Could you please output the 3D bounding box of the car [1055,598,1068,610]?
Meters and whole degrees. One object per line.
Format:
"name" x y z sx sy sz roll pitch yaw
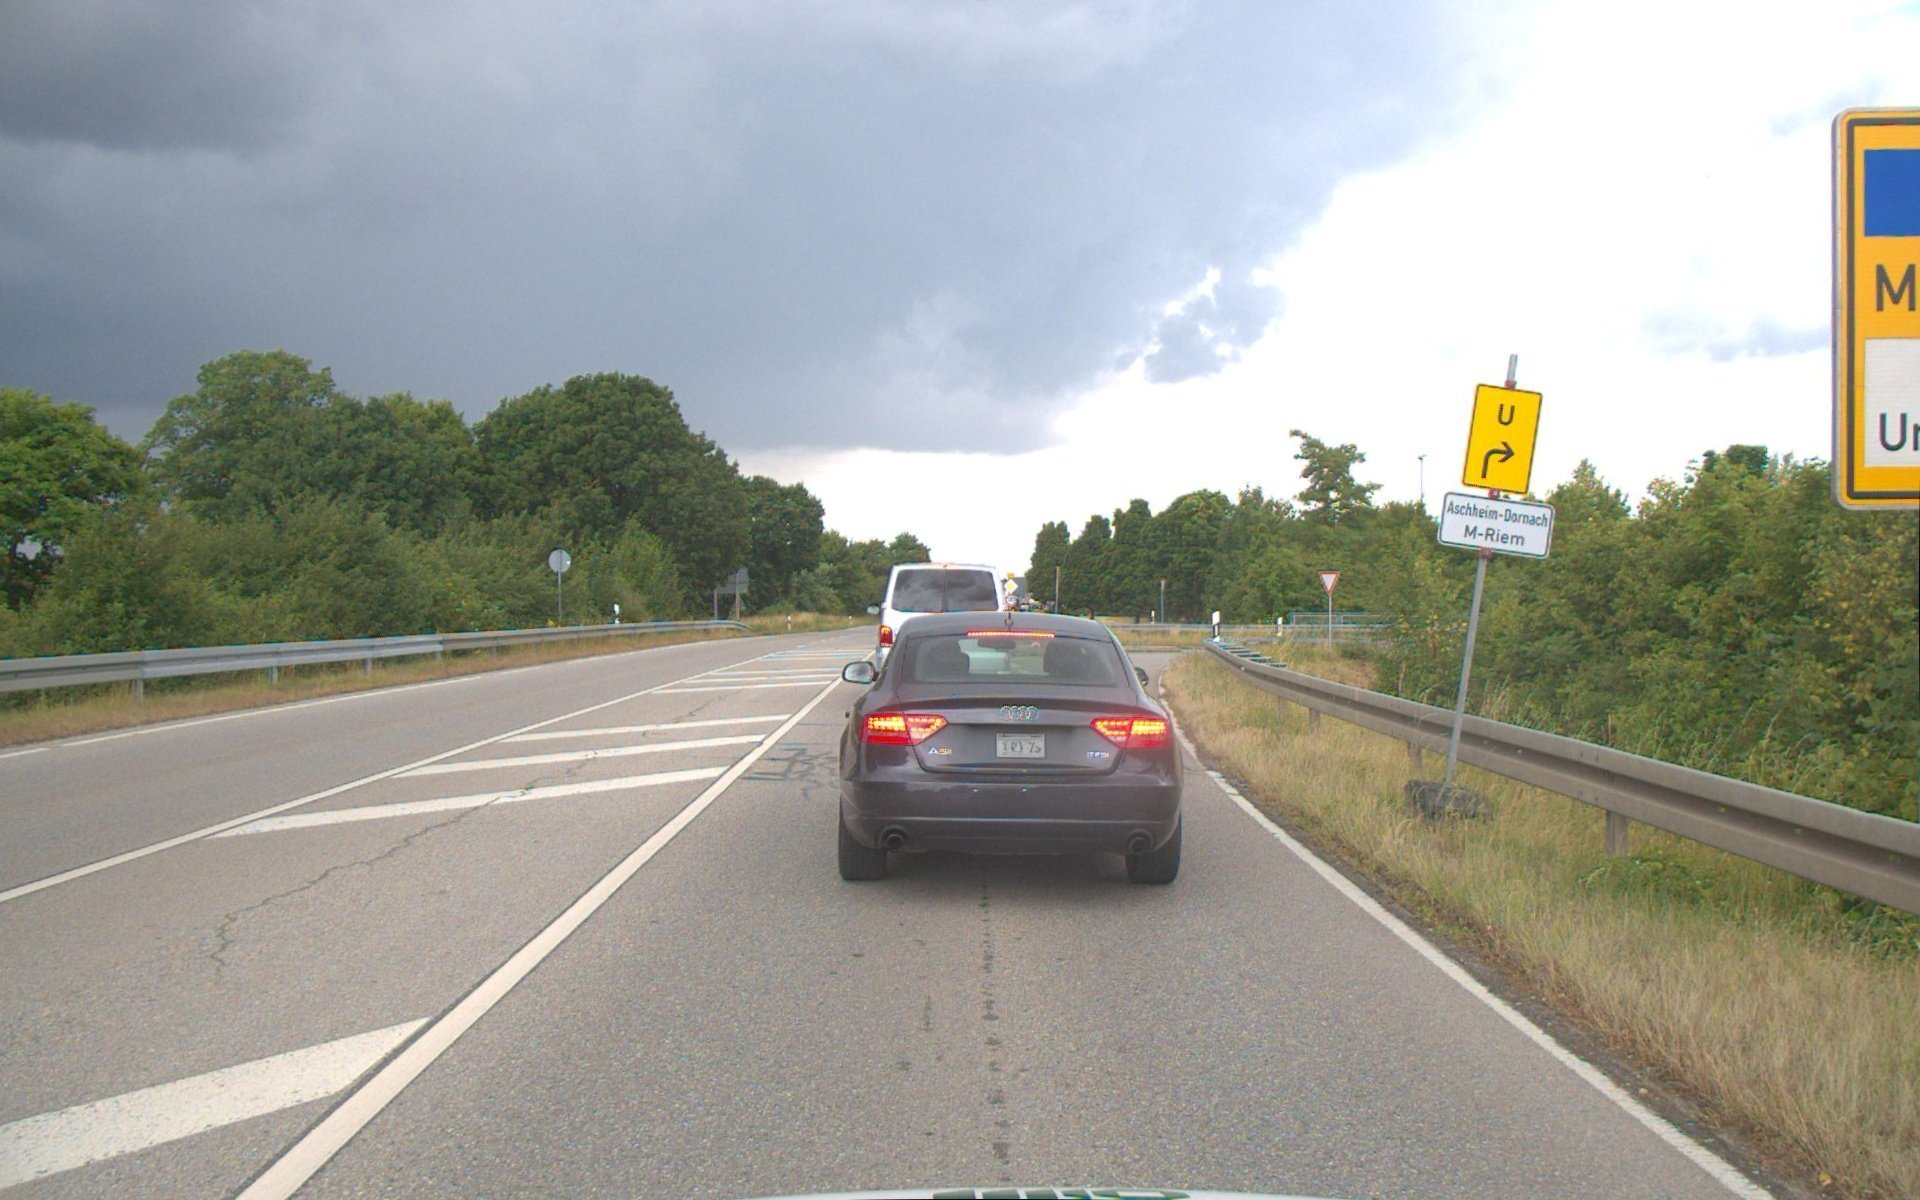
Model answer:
"car" 15.027 0.620 243.751 1.836 1.721 4.002 1 0 4

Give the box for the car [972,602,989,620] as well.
"car" 2.471 1.299 196.921 1.952 2.049 4.001 1 0 1

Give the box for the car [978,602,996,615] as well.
"car" 3.478 1.104 213.005 2.161 1.610 4.378 1 0 -2

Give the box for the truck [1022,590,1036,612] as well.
"truck" 9.719 0.117 232.902 1.952 2.969 5.794 1 0 2

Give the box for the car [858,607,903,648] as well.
"car" -3.199 1.100 67.135 1.675 1.545 4.208 1 0 -1

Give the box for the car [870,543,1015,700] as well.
"car" -0.281 0.272 23.805 1.872 2.049 3.999 1 0 -2

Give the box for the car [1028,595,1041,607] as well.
"car" 11.323 0.102 251.175 1.952 1.721 4.001 1 0 1

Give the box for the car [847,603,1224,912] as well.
"car" 0.304 0.738 9.355 1.744 1.423 3.335 1 0 -2
